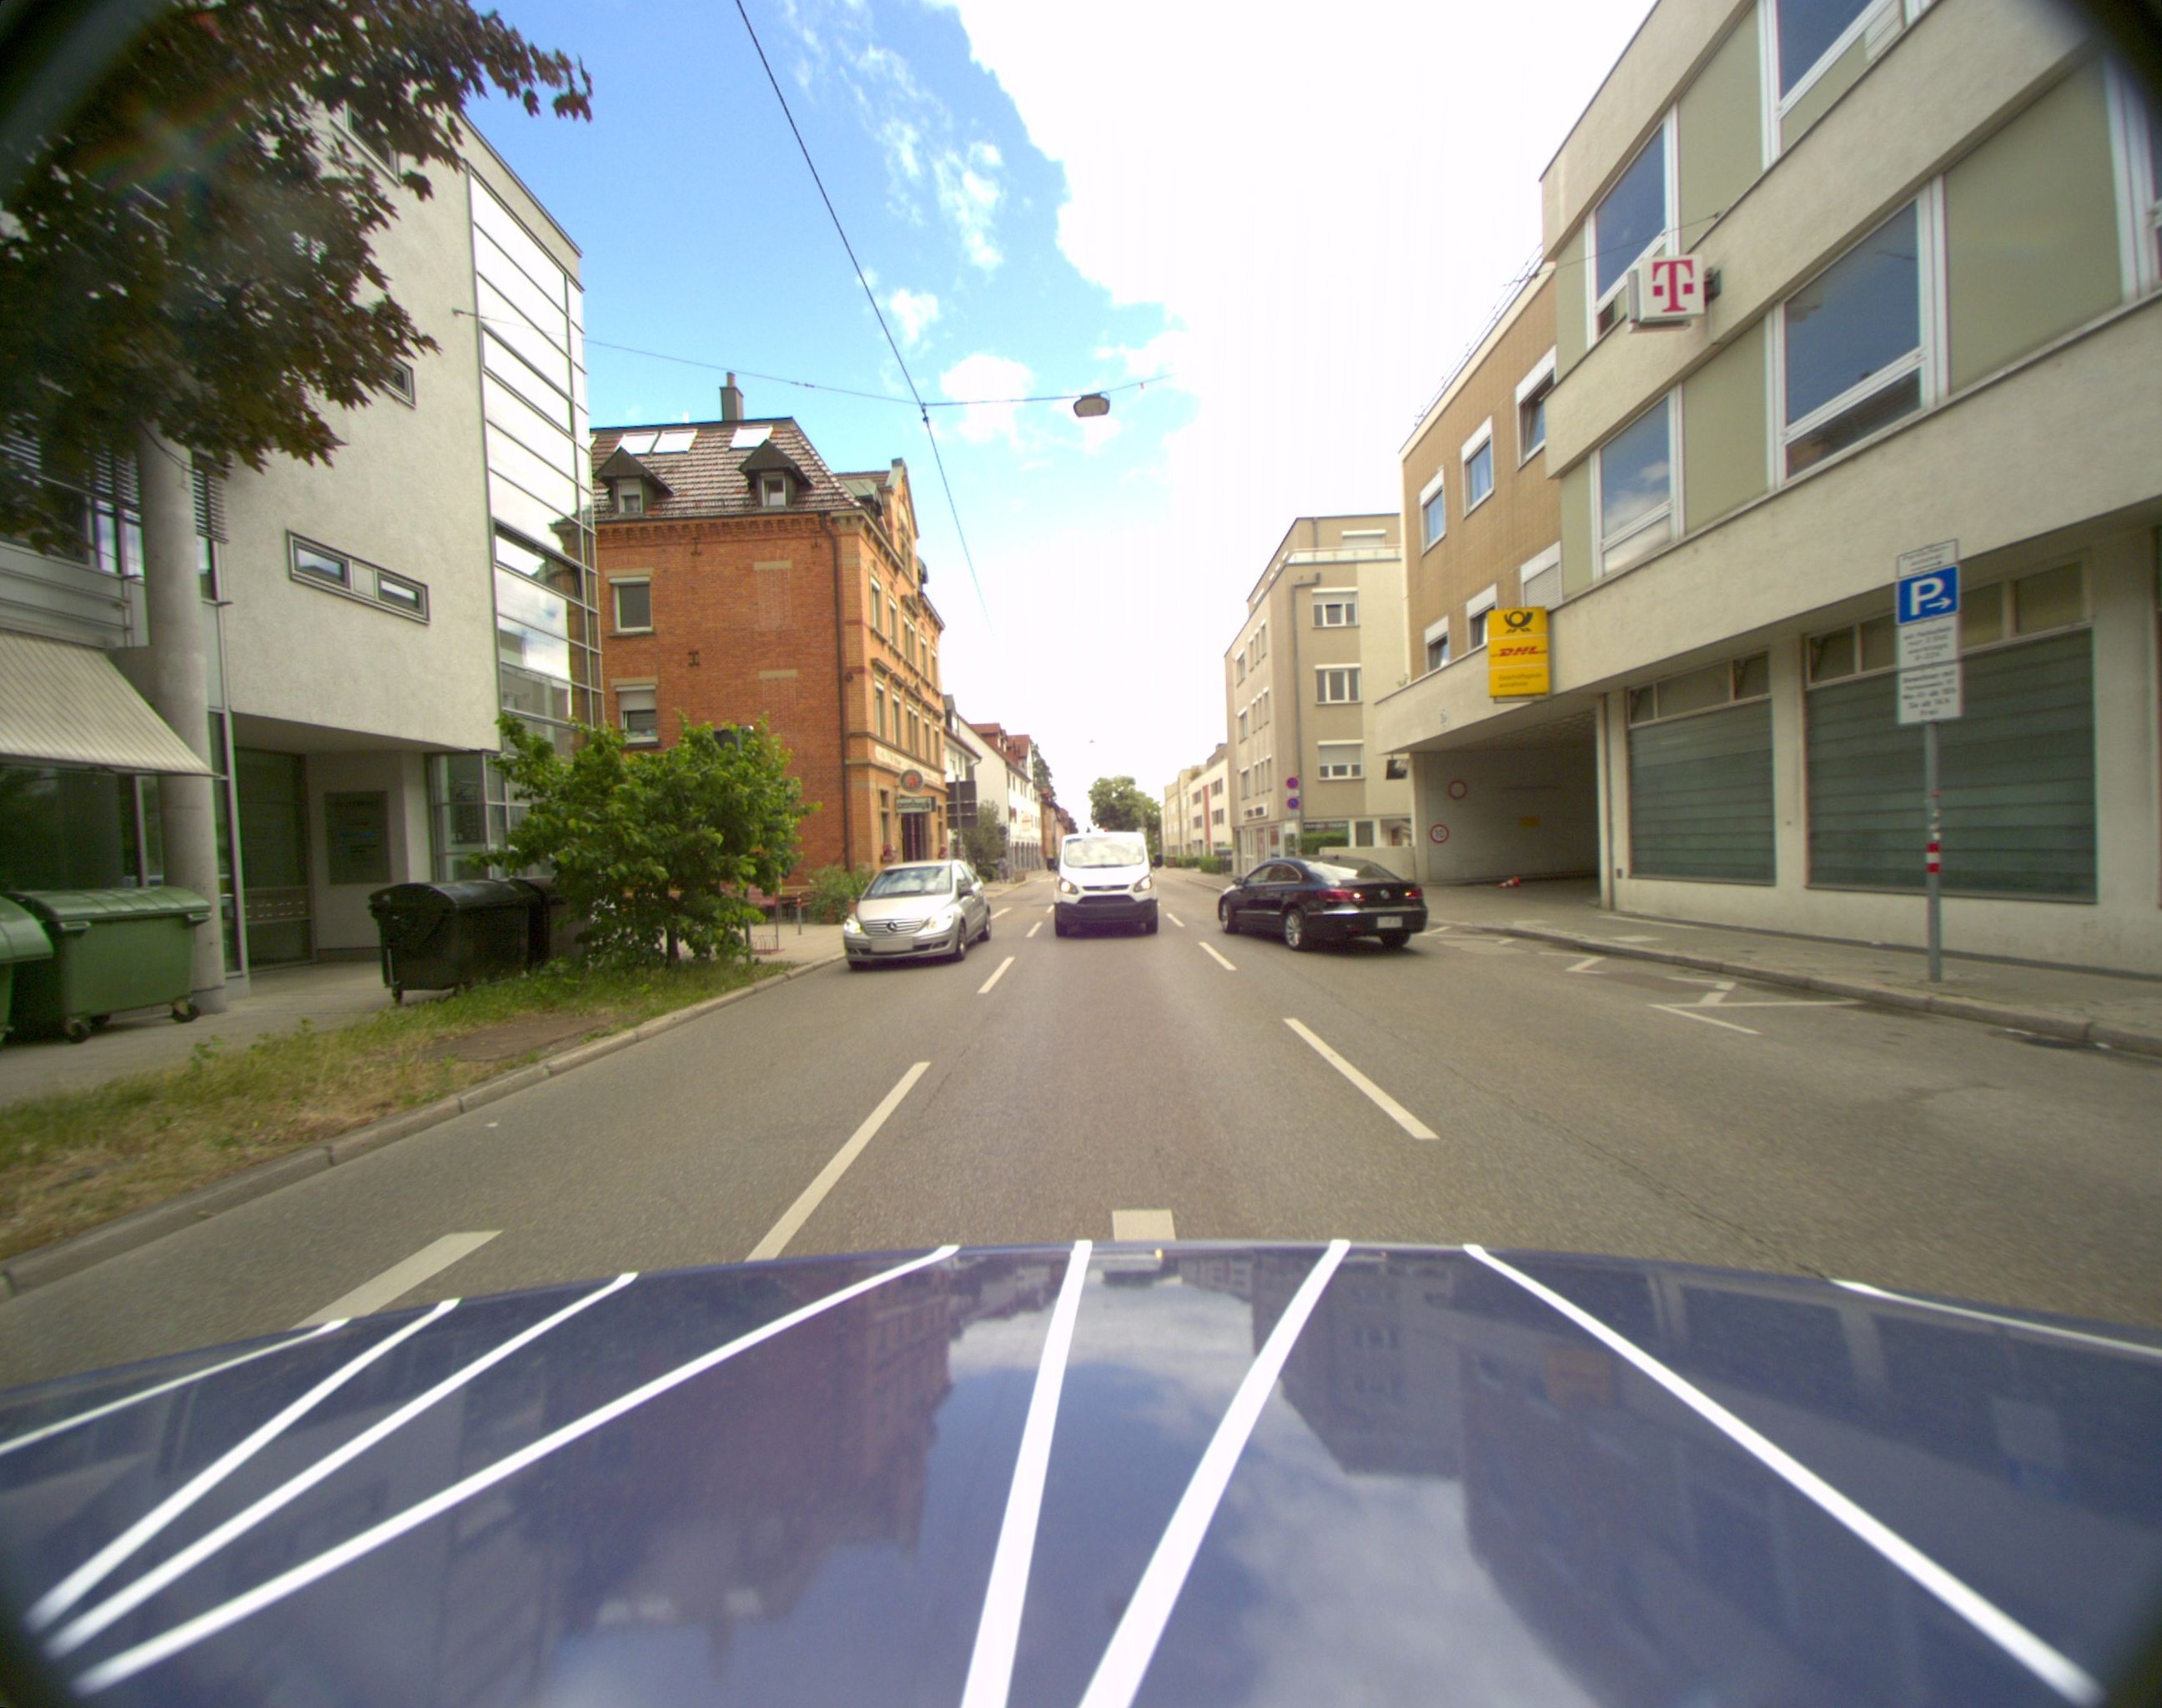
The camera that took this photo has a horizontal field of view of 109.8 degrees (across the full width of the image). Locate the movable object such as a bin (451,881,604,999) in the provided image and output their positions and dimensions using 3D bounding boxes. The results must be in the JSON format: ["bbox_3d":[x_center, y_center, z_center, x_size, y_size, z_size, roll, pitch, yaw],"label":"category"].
[{"bbox_3d":[-7.561,1.138,10.476,1.100,1.457,1.333,-1,1,0],"label":"movable object such as a bin"}]

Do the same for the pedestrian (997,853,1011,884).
[{"bbox_3d":[-4.482,0.844,44.149,0.690,1.721,0.649,-2,1,0],"label":"pedestrian"}]

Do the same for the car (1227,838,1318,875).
[{"bbox_3d":[11.574,0.150,46.204,5.082,1.986,1.966,-2,1,4],"label":"car"}]

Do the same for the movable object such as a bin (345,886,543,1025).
[{"bbox_3d":[-7.538,1.151,9.104,1.130,1.457,1.412,-1,1,0],"label":"movable object such as a bin"}]

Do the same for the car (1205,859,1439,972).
[{"bbox_3d":[3.633,0.830,12.417,1.657,1.390,4.449,-3,1,-11],"label":"car"}]

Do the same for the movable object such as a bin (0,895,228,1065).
[{"bbox_3d":[-9.837,1.191,7.572,1.125,1.457,1.333,-1,1,0],"label":"movable object such as a bin"}]

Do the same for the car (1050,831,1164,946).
[{"bbox_3d":[0.458,0.600,16.137,1.965,1.986,5.086,-2,0,0],"label":"car"}]

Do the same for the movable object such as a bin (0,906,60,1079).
[{"bbox_3d":[-9.829,1.209,6.211,1.100,1.457,1.333,-1,1,0],"label":"movable object such as a bin"}]

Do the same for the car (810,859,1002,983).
[{"bbox_3d":[-2.732,0.978,13.121,1.998,1.537,4.571,-5,0,2],"label":"car"}]
